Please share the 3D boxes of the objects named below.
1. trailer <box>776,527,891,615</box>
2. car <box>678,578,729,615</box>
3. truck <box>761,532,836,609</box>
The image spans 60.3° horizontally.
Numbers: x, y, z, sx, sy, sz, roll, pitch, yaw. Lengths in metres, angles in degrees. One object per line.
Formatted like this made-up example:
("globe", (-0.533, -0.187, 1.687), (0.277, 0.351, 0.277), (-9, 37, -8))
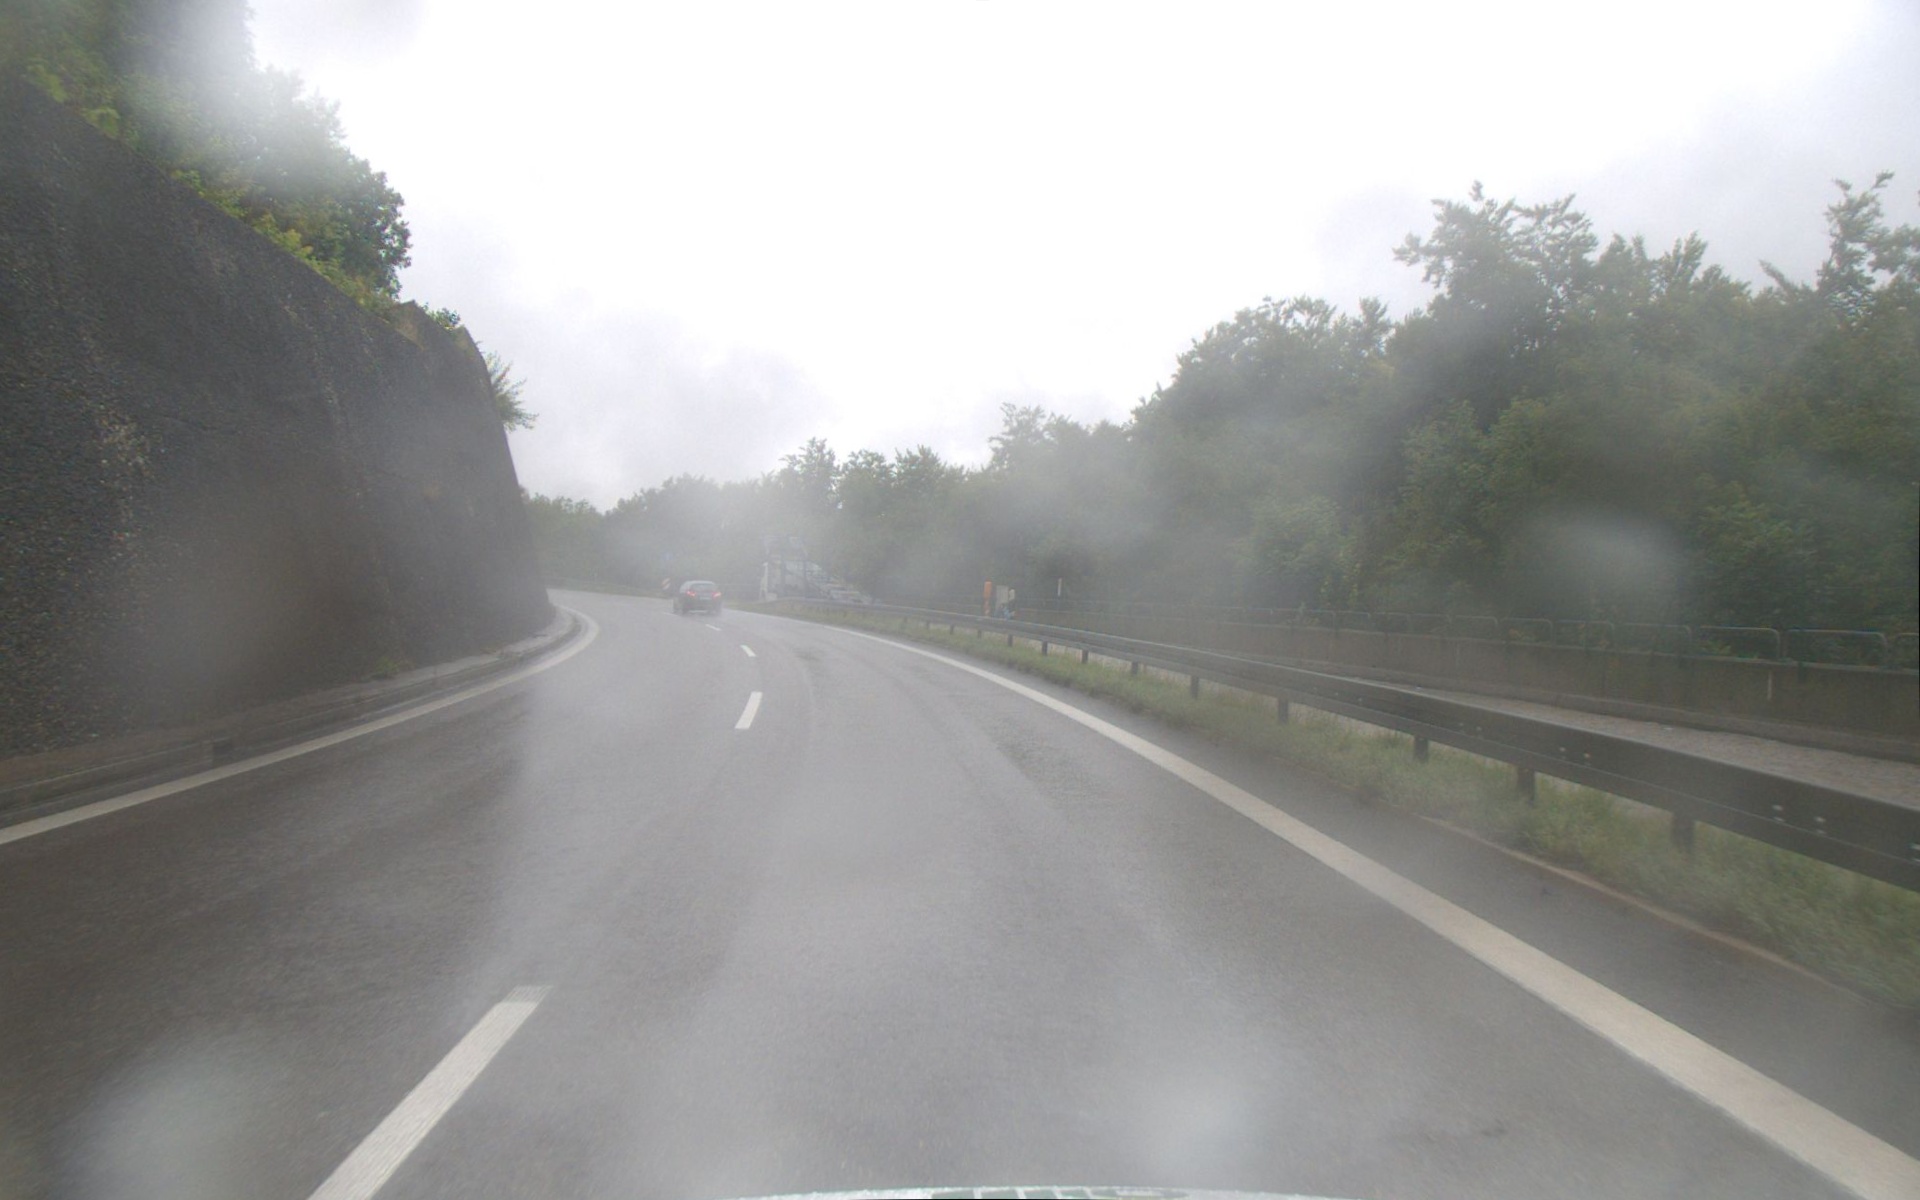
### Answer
("trailer", (-7.114, -1.533, 90.010), (2.847, 4.319, 14.623), (1, 0, -18))
("car", (-11.739, -0.181, 75.532), (1.872, 1.525, 3.985), (3, 0, -14))
("truck", (-9.596, -1.713, 97.657), (2.852, 4.319, 6.844), (1, 0, -19))
